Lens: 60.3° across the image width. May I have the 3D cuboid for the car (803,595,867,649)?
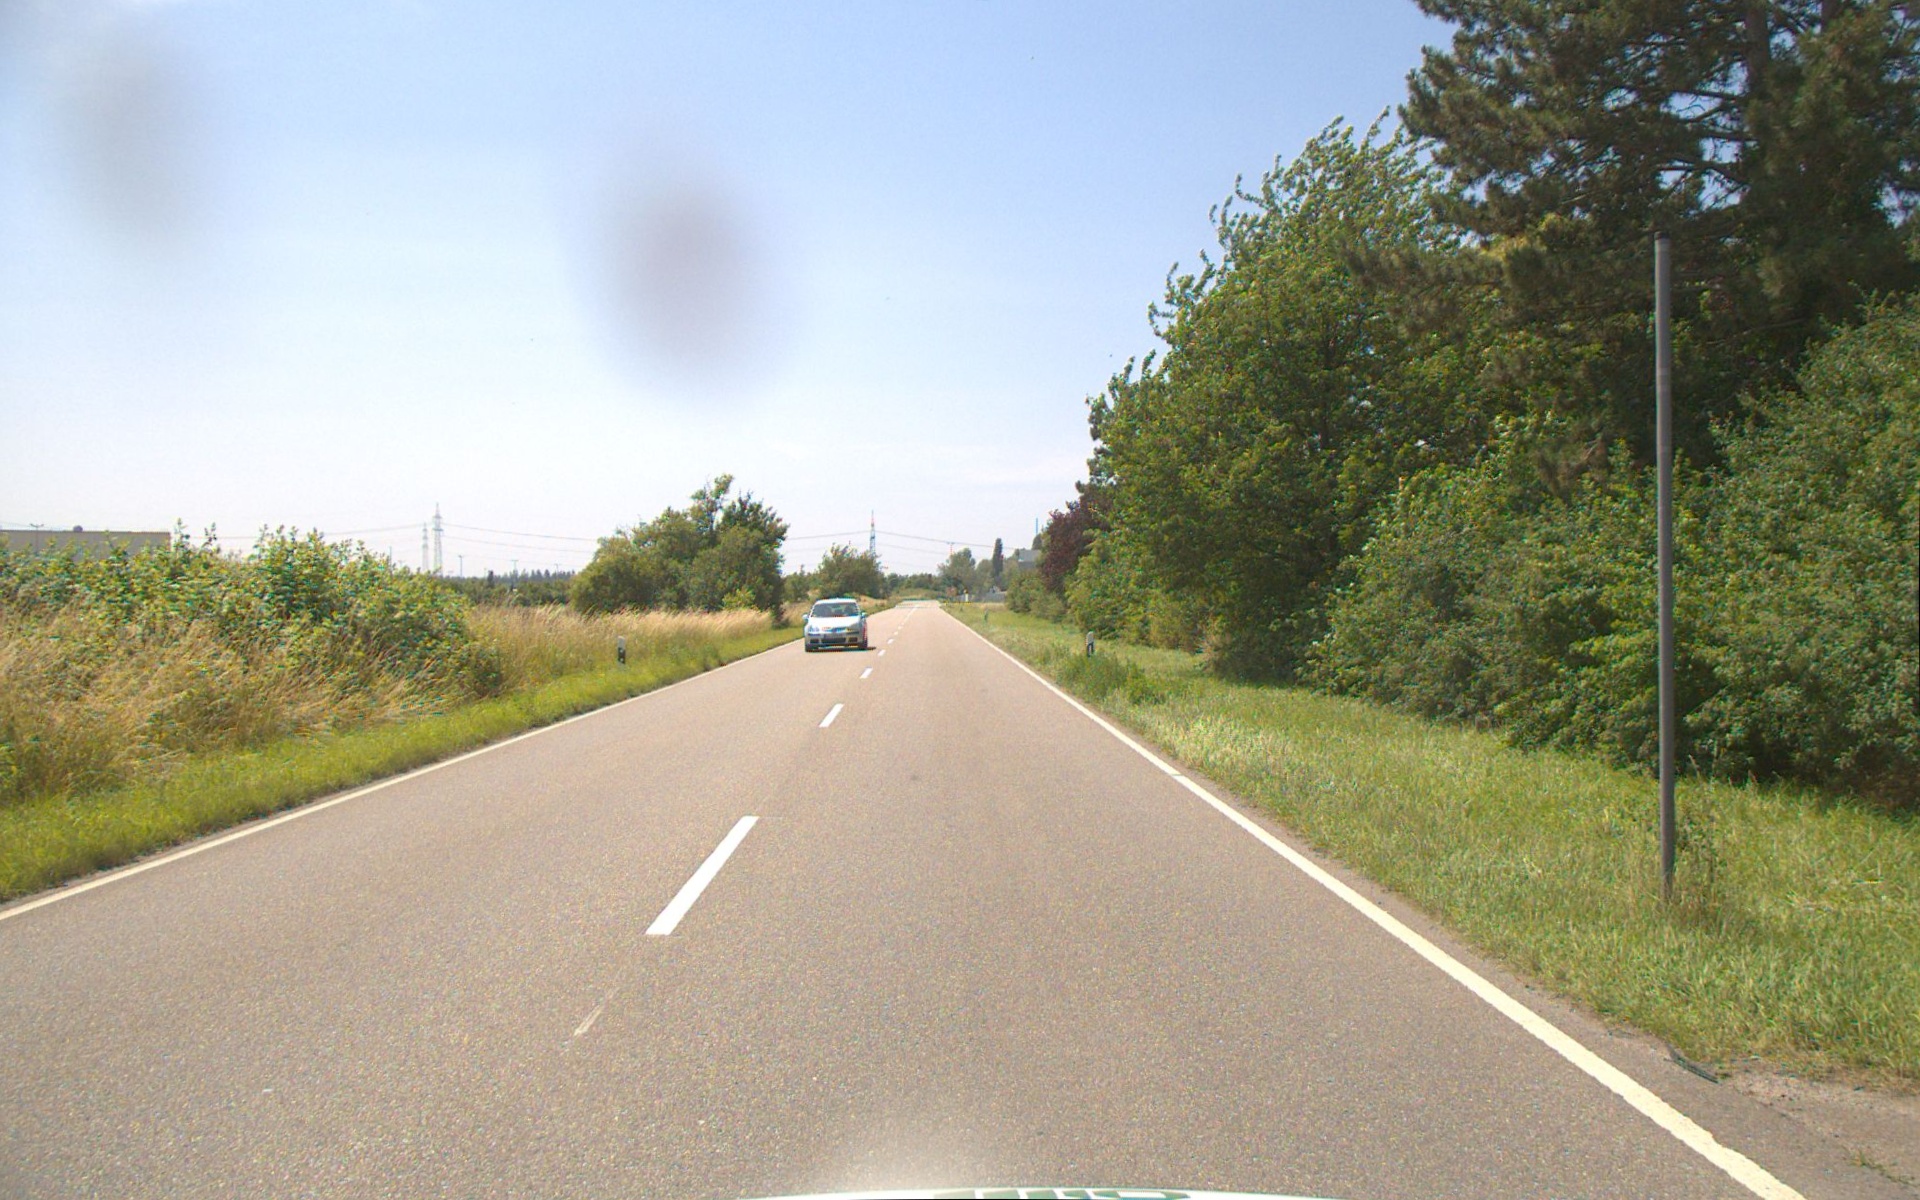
[{"bbox_3d":[-3.631,0.606,48.661,1.645,1.446,4.420,-2,0,-2],"label":"car"}]
